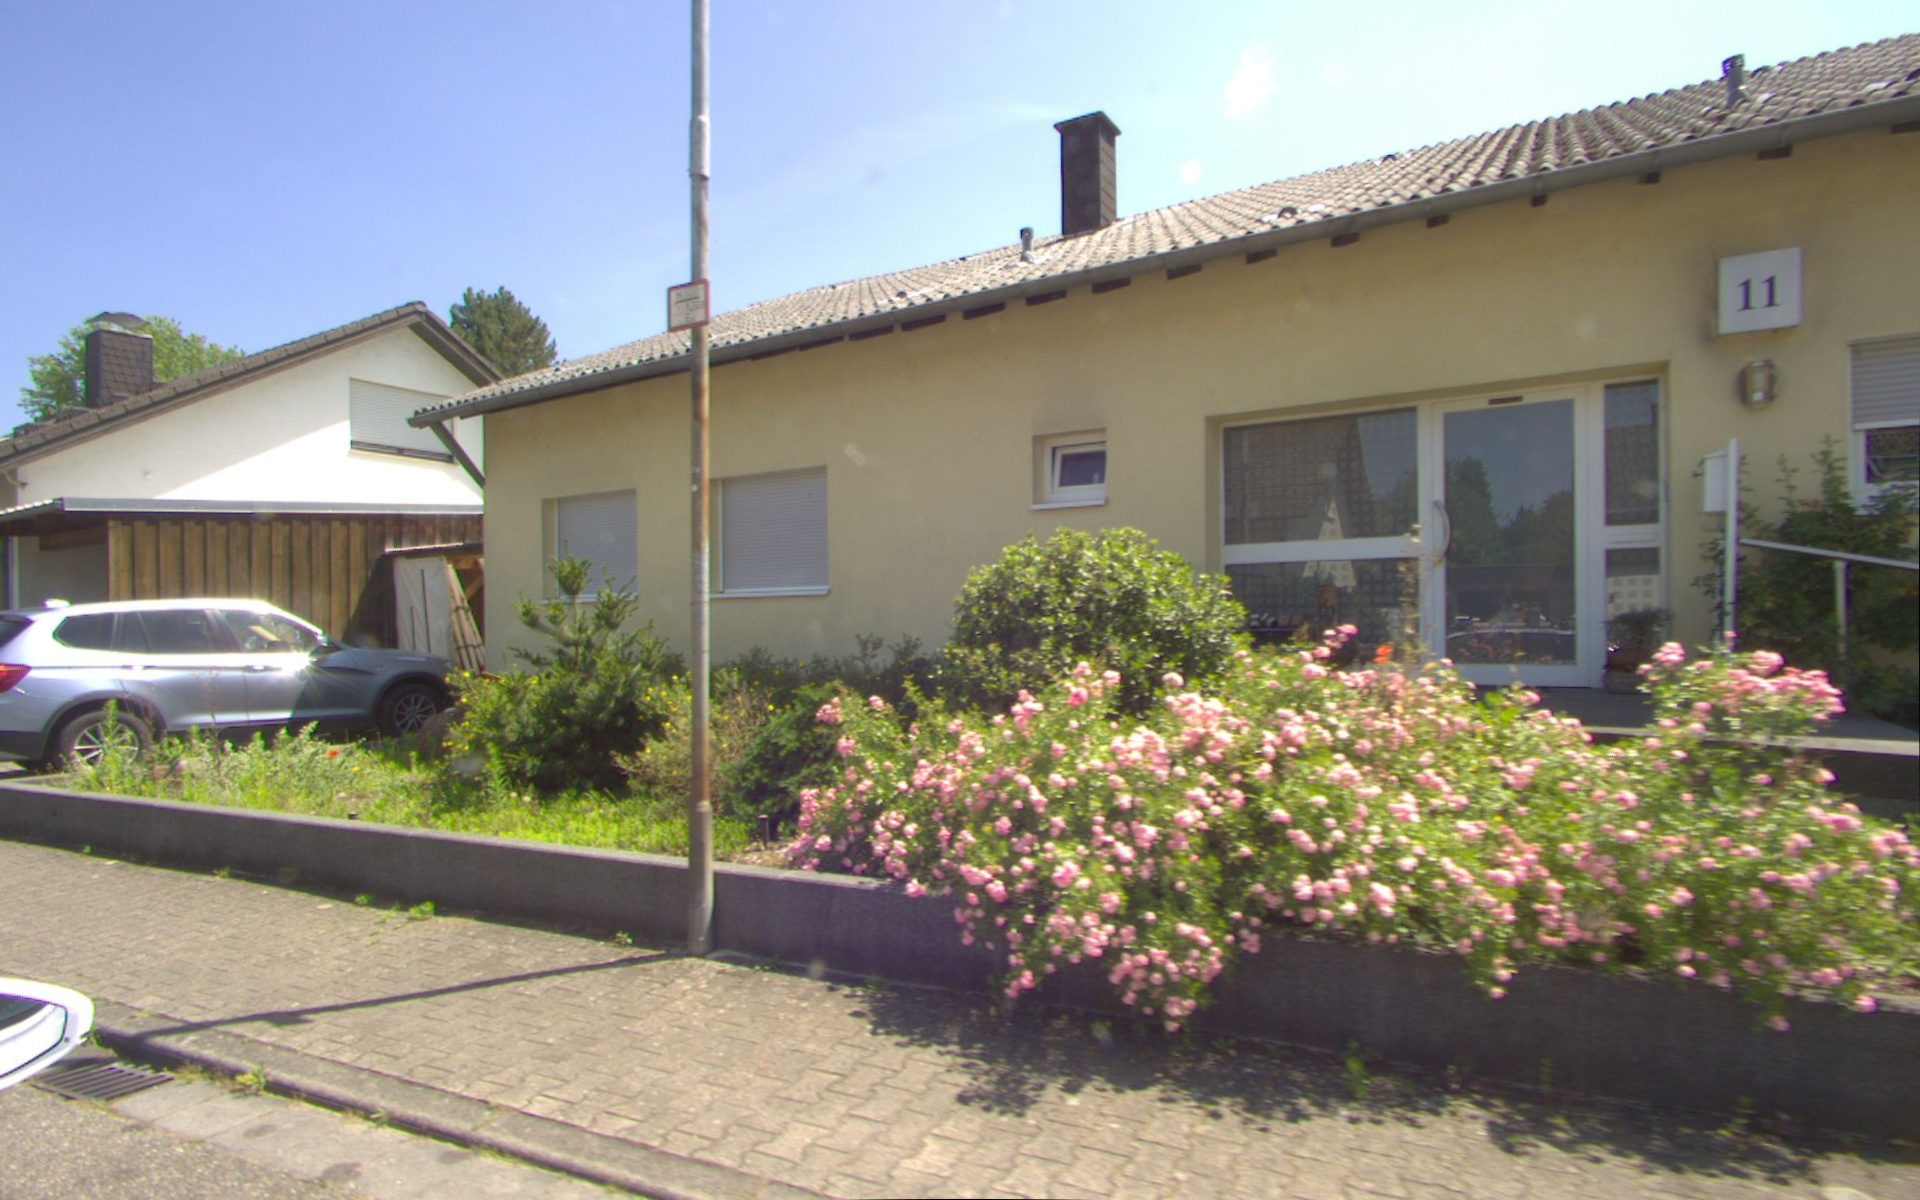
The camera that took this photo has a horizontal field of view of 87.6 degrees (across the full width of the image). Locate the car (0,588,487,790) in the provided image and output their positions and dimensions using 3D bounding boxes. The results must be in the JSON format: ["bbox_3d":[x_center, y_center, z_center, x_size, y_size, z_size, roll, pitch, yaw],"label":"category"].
[{"bbox_3d":[-7.753,0.751,10.752,1.686,1.725,4.614,-1,0,34],"label":"car"}]
